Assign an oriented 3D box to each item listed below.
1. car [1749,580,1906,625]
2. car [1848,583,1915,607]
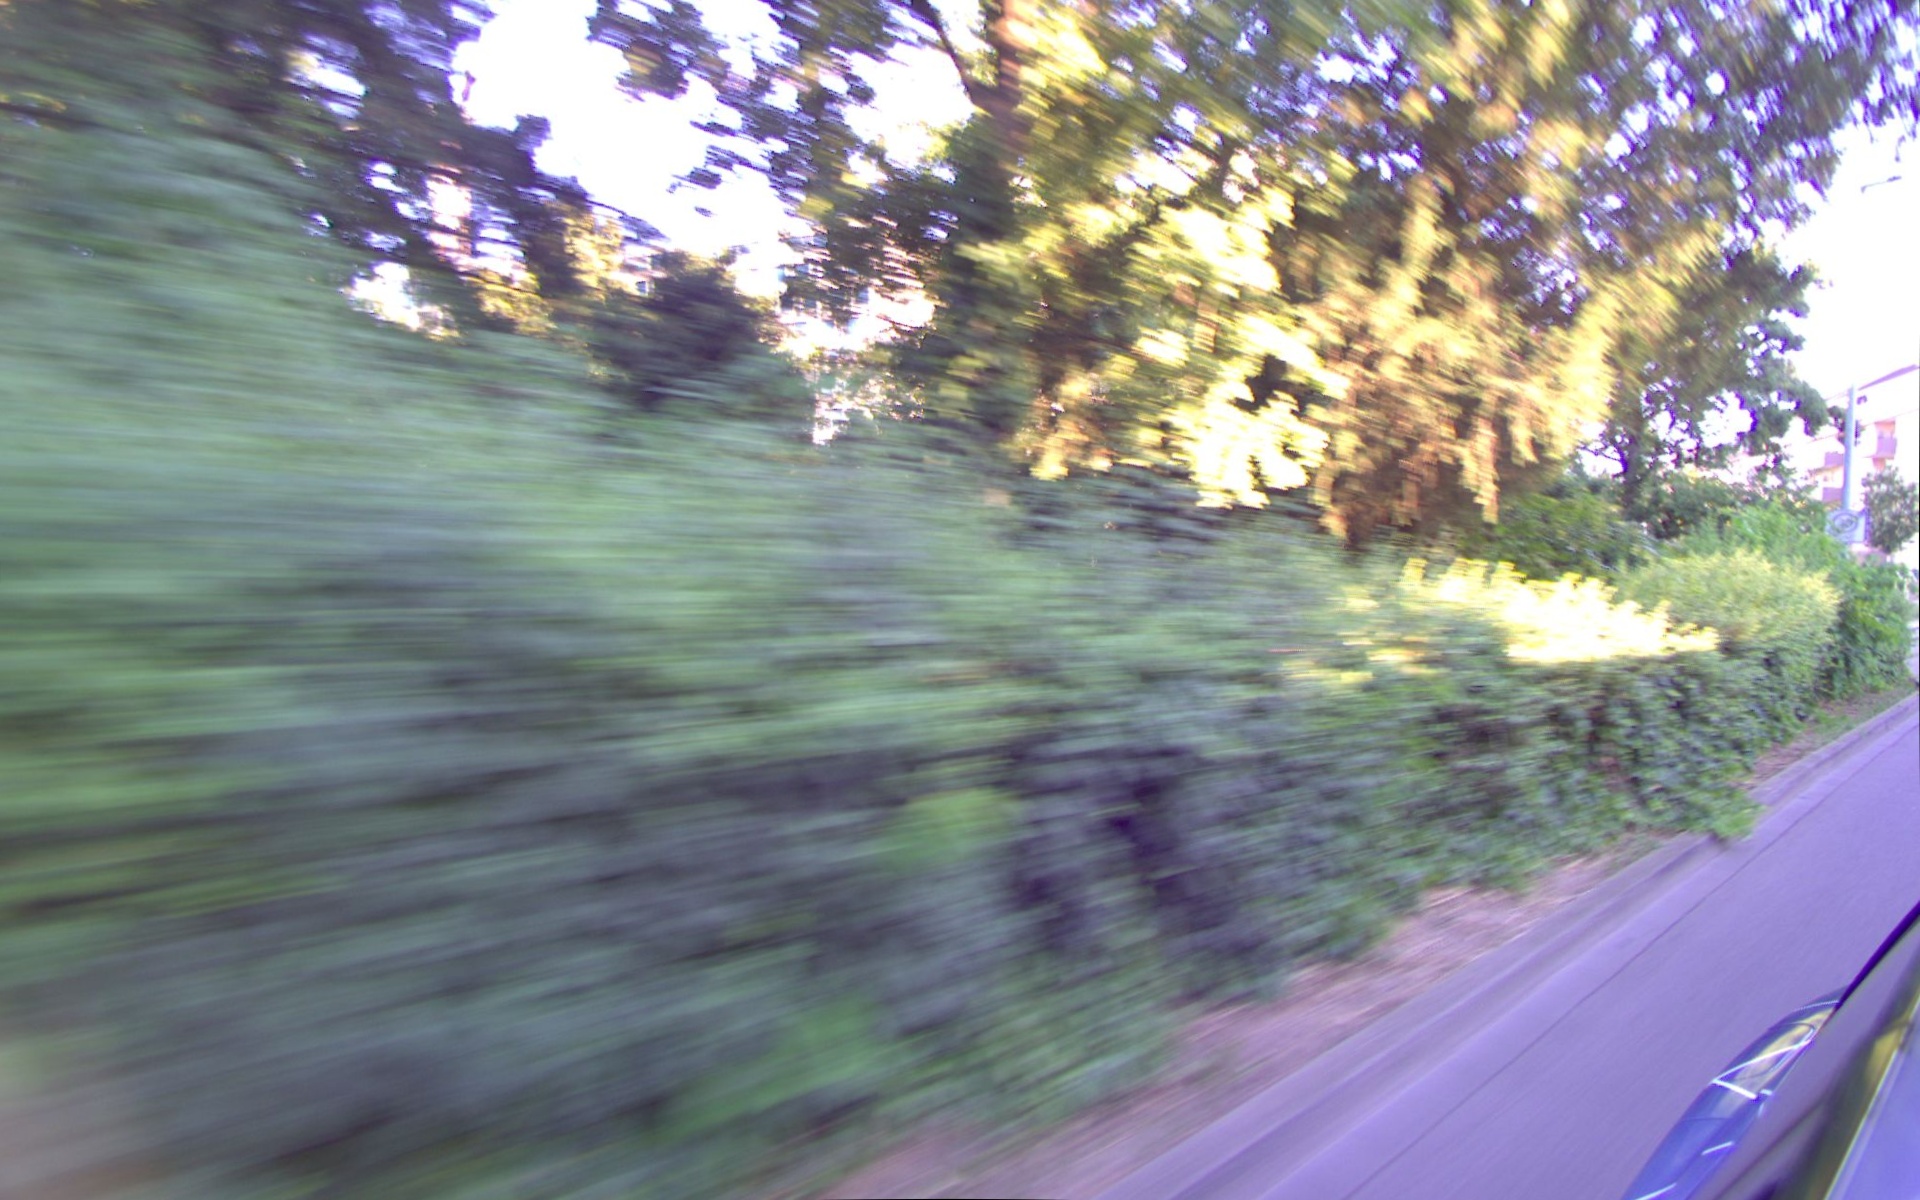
[{"bbox_3d":[30.509,0.043,35.760,3.875,1.405,1.783,2,2,29],"label":"car"},{"bbox_3d":[63.416,-0.396,69.714,1.976,1.504,3.974,1,2,20],"label":"car"}]
